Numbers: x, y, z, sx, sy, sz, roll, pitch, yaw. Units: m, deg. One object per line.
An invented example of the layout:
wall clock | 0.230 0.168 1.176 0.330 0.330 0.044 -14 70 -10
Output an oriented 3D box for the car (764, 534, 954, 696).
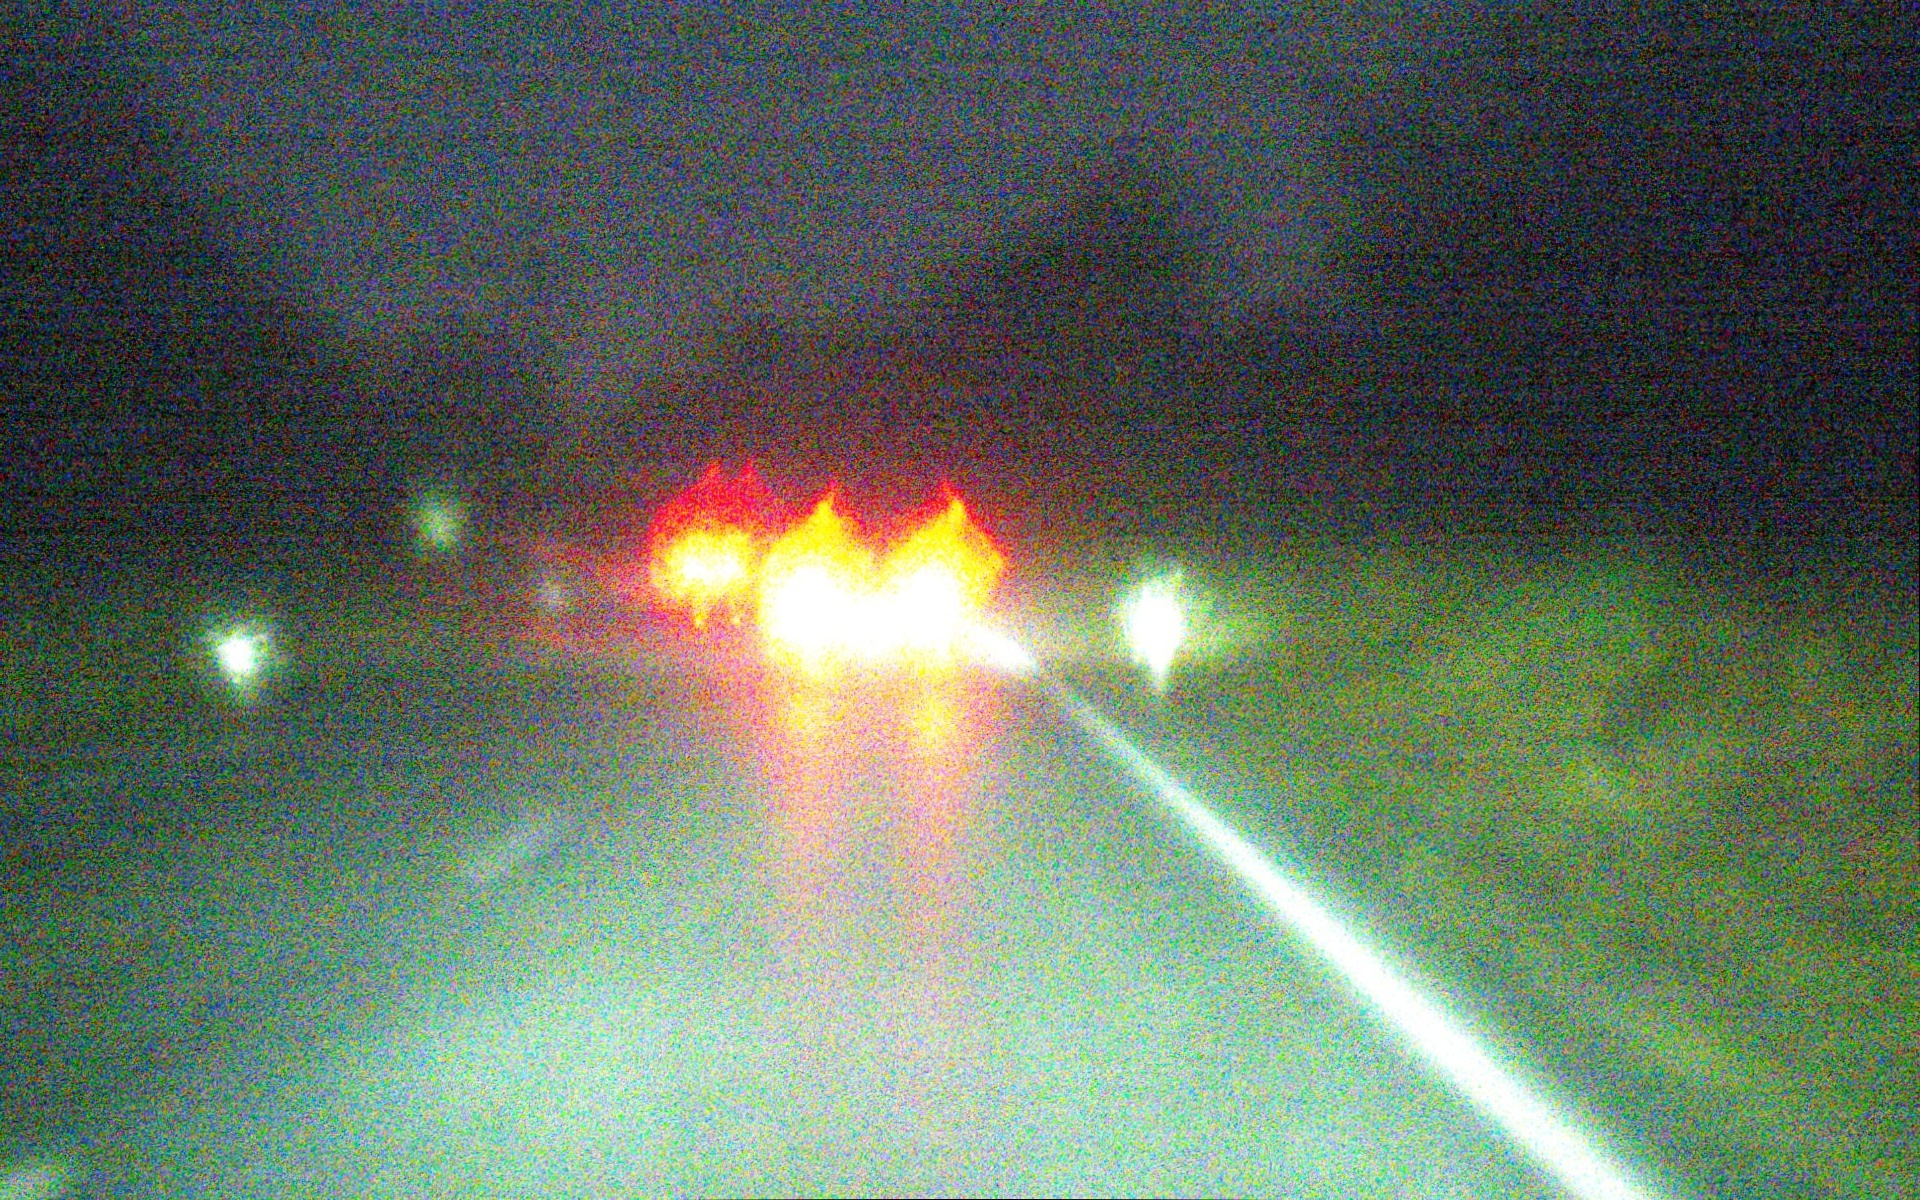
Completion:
car | -1.126 0.113 38.956 1.993 1.622 4.985 1 2 -1
